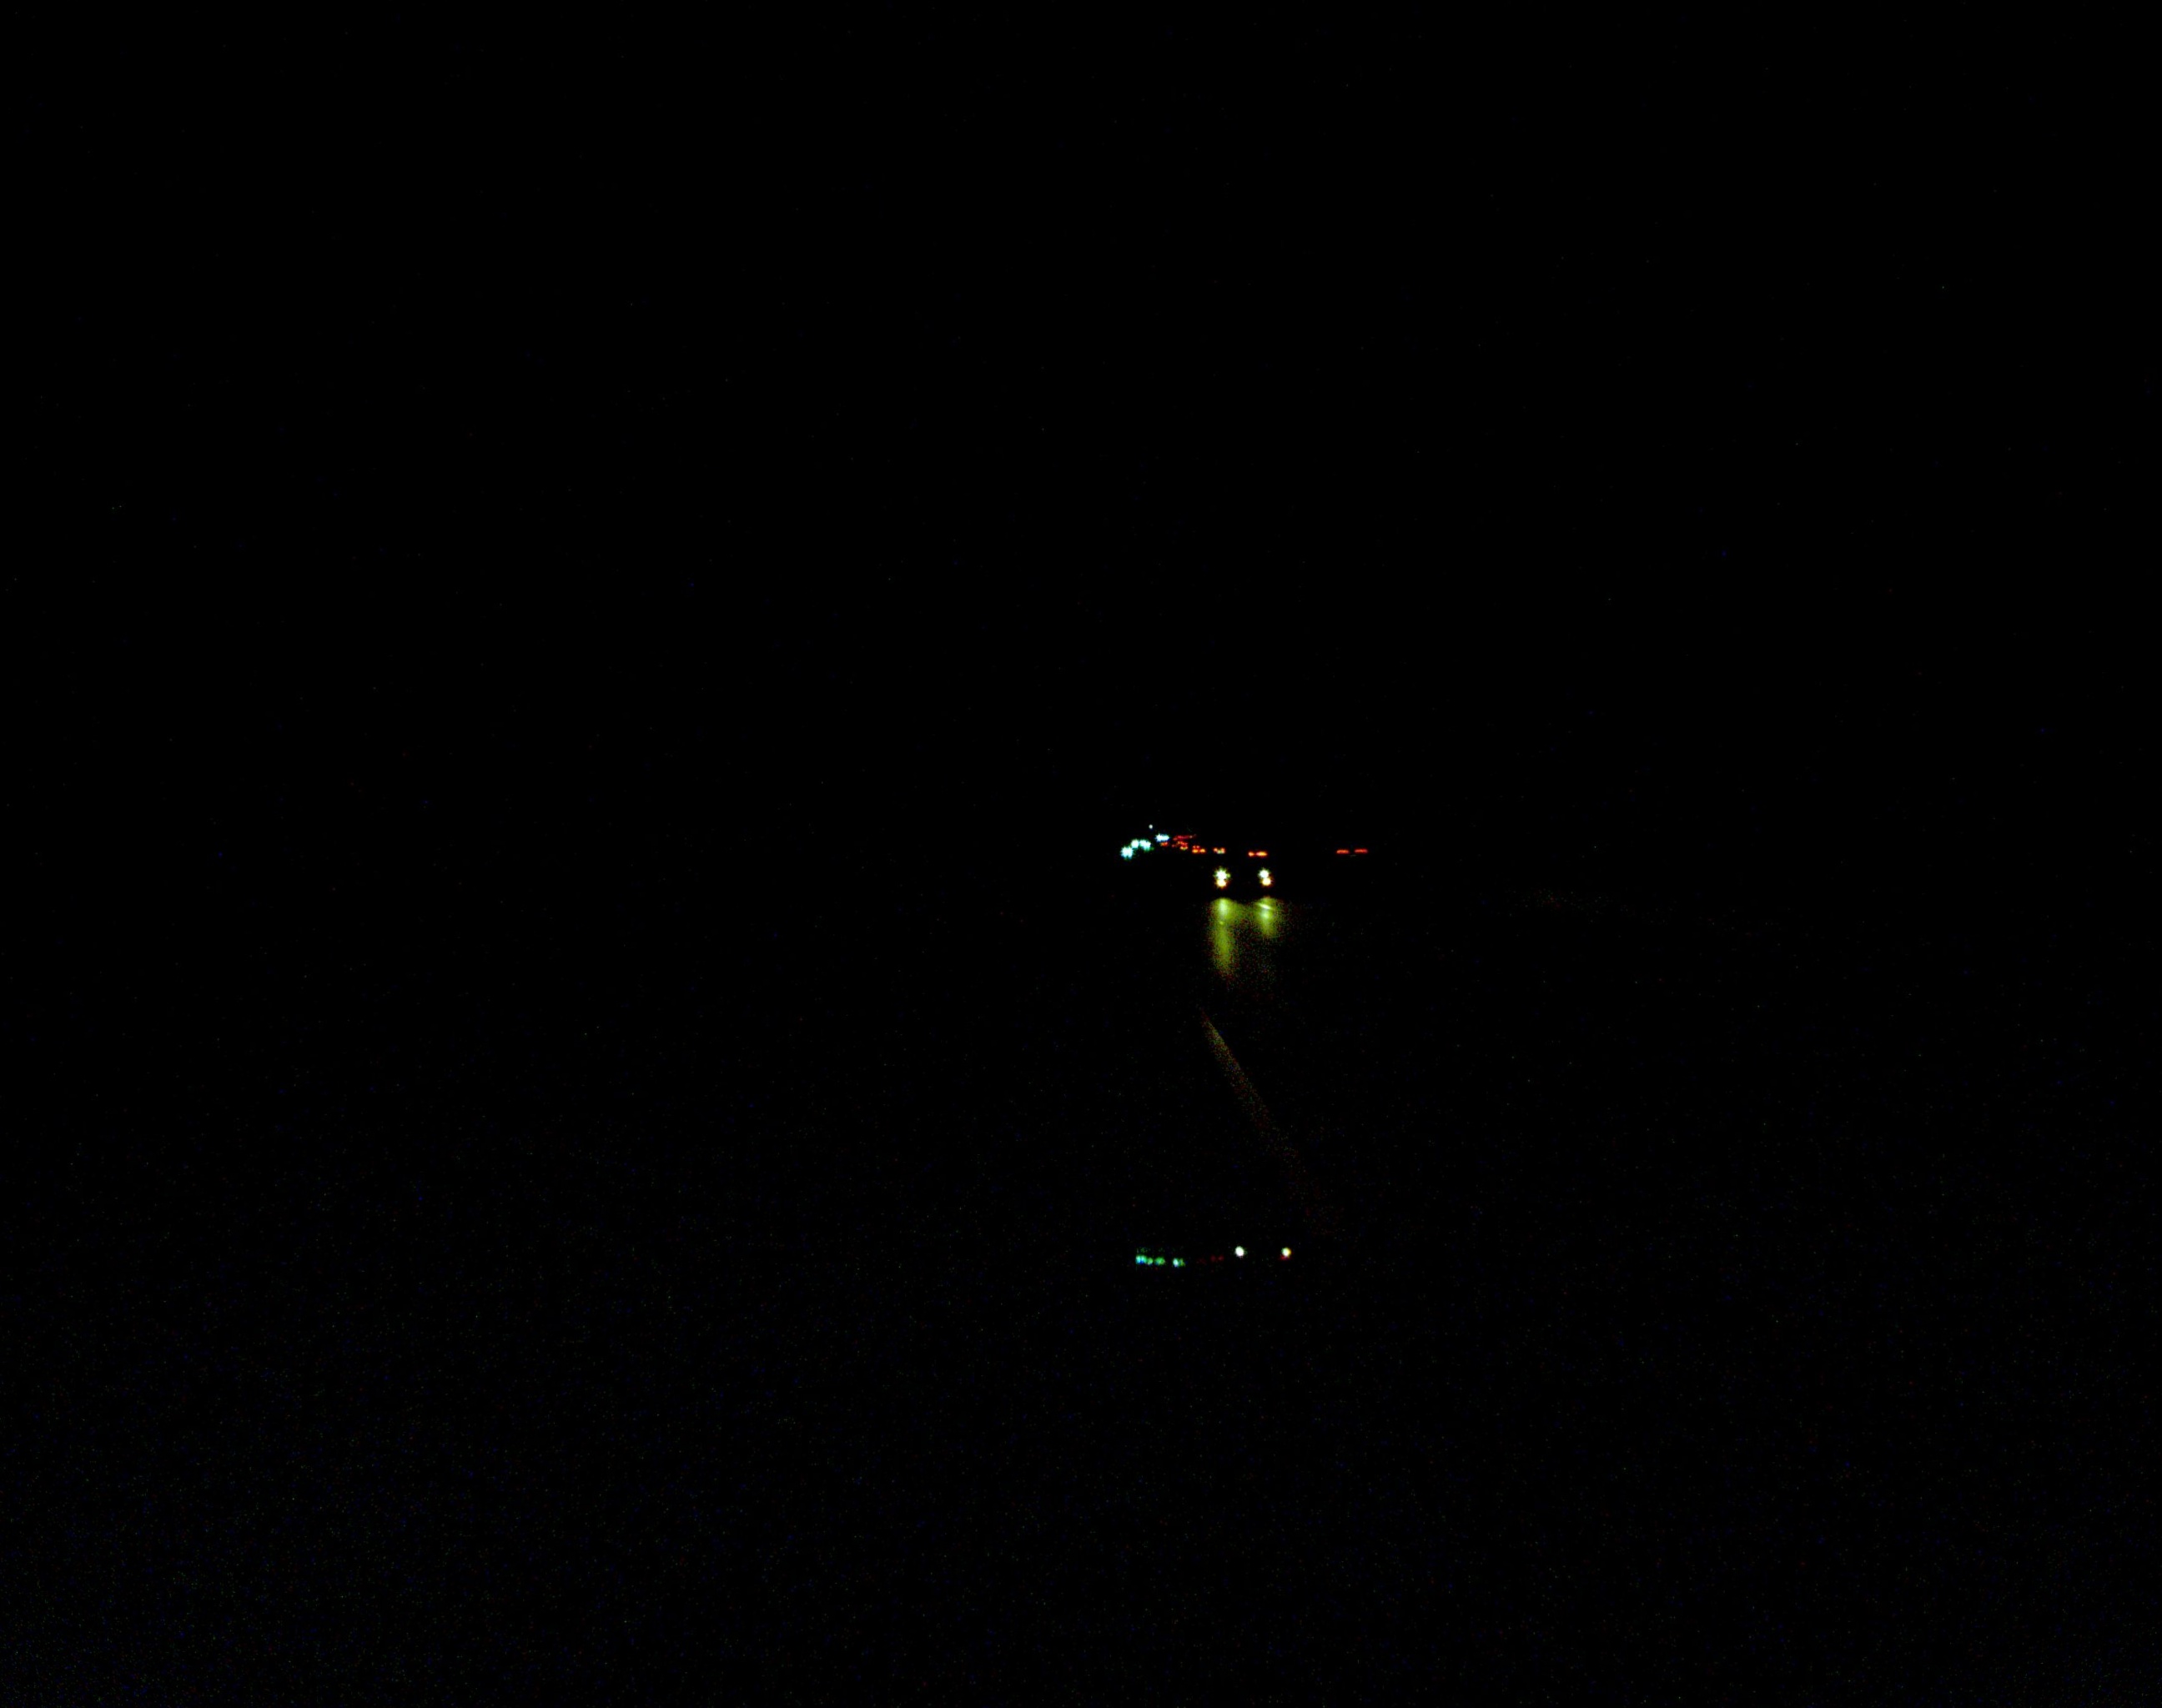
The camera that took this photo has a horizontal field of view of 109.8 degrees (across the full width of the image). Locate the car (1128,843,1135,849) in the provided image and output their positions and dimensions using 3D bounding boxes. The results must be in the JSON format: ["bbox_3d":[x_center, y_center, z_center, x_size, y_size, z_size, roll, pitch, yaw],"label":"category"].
[{"bbox_3d":[14.590,-2.300,219.004,1.998,1.653,4.001,-1,1,5],"label":"car"}]

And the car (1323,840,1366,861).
[{"bbox_3d":[24.156,-0.372,69.872,2.058,1.771,5.941,-2,1,2],"label":"car"}]

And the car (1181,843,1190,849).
[{"bbox_3d":[30.189,-2.377,219.819,2.123,1.547,5.110,-2,1,5],"label":"car"}]

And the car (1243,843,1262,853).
[{"bbox_3d":[28.068,-1.006,124.483,2.123,1.547,5.109,-2,1,2],"label":"car"}]

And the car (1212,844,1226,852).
[{"bbox_3d":[29.022,-1.277,160.446,2.189,1.472,5.242,-2,1,3],"label":"car"}]

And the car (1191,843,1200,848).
[{"bbox_3d":[34.986,-2.517,232.100,2.123,1.547,5.109,-2,1,4],"label":"car"}]

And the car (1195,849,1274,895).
[{"bbox_3d":[5.620,0.680,28.591,1.998,1.509,5.653,-2,-1,2],"label":"car"}]

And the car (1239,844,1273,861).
[{"bbox_3d":[18.028,-0.164,78.566,2.565,1.547,5.109,-2,1,2],"label":"car"}]

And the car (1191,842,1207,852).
[{"bbox_3d":[20.626,-1.197,132.760,2.123,1.547,5.109,-2,1,2],"label":"car"}]
